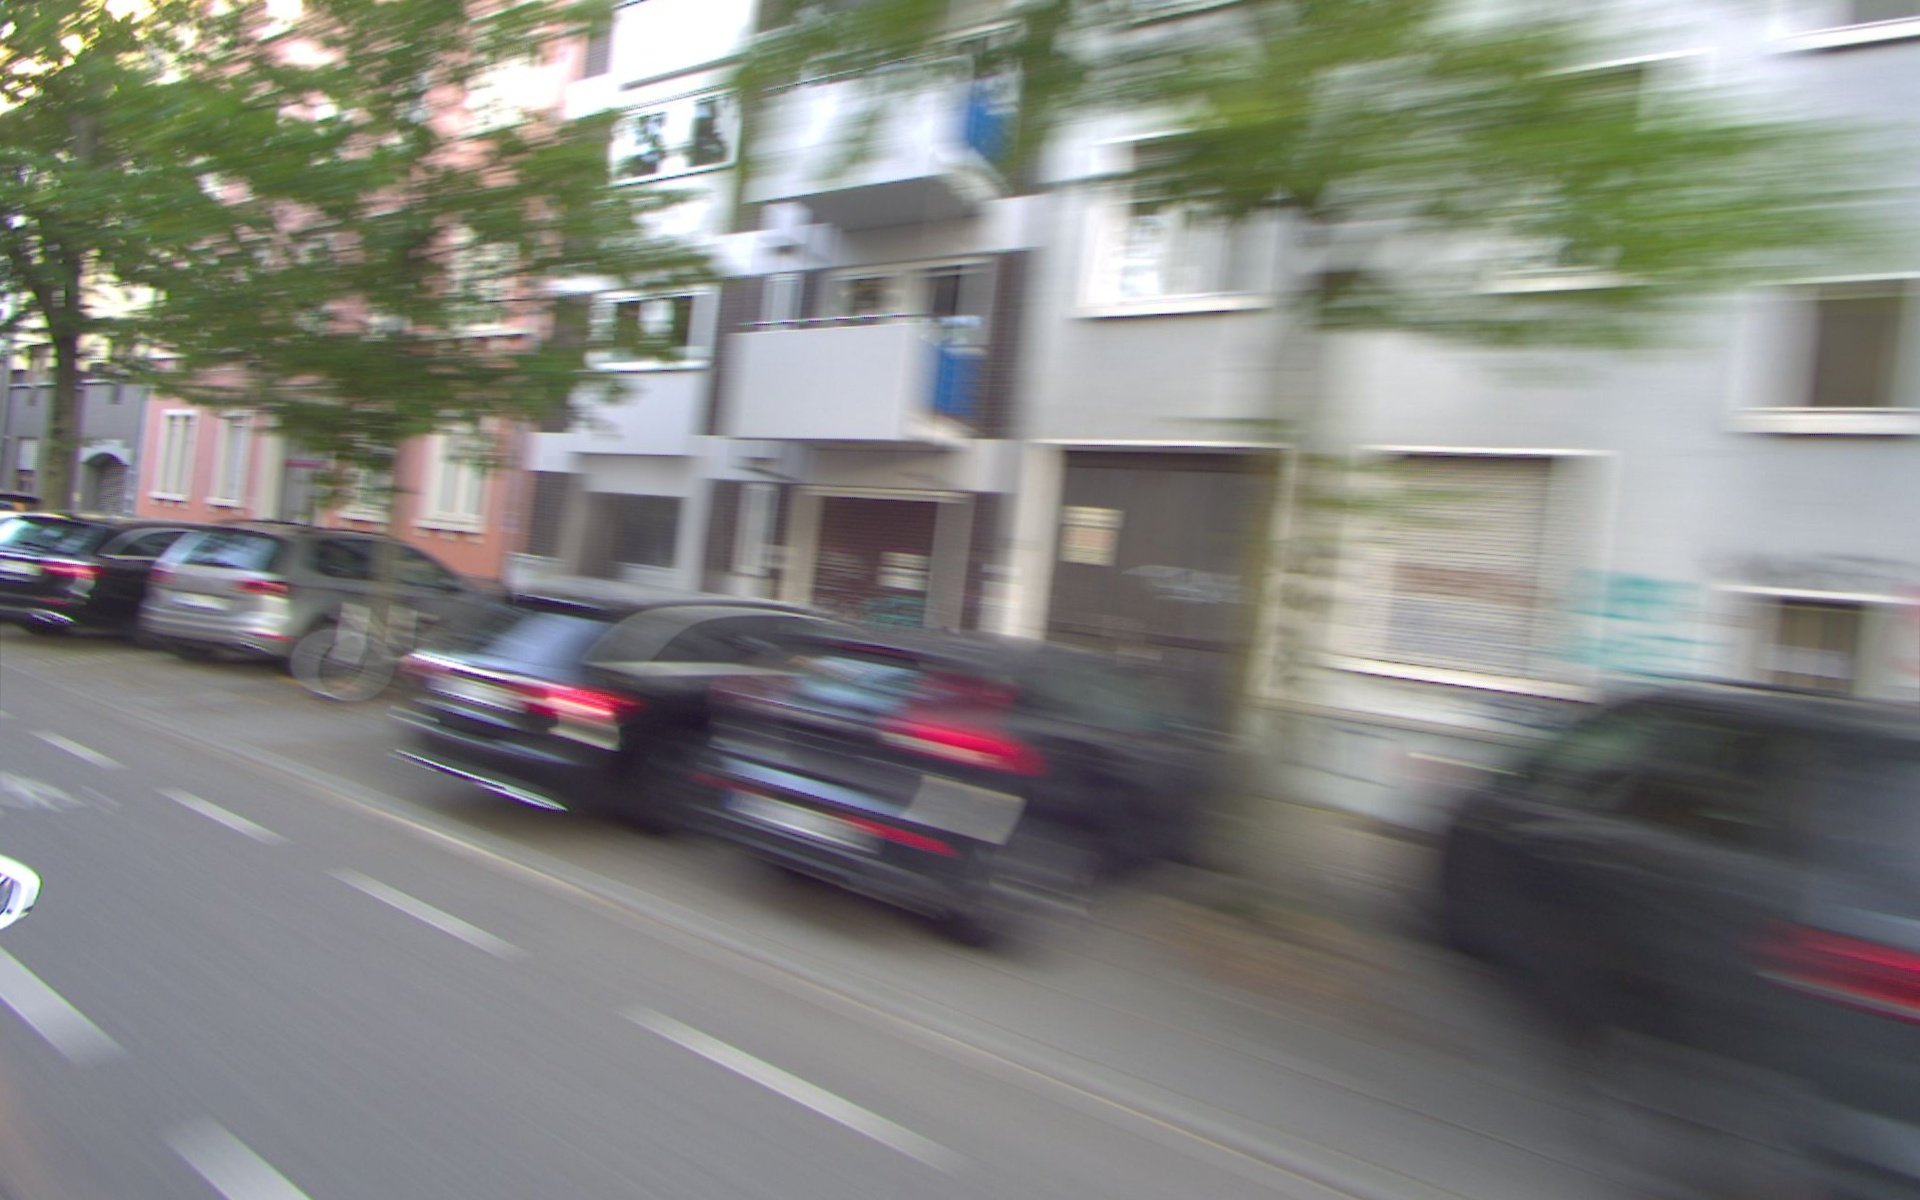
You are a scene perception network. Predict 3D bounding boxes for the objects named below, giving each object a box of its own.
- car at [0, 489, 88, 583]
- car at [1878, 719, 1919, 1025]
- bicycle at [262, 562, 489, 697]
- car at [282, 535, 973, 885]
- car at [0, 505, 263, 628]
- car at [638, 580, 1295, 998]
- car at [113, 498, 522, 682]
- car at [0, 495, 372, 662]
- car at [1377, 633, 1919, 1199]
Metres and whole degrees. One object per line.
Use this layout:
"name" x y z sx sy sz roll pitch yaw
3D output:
"car" -19.113 -1.384 19.685 3.953 1.603 1.882 7 -1 31
"car" 5.619 1.476 3.413 1.687 1.585 4.002 7 0 10
"bicycle" -5.767 0.315 10.057 0.718 1.158 1.800 7 0 24
"car" -1.781 0.619 6.903 1.691 1.482 4.383 7 0 30
"car" -11.960 -0.445 13.645 1.590 1.404 4.267 7 -1 6
"car" 0.374 0.876 5.966 1.694 1.482 3.985 7 0 38
"car" -7.267 -0.061 11.953 1.687 1.613 4.001 8 0 11
"car" -9.463 -0.213 12.115 1.687 1.572 3.975 8 0 14
"car" 3.254 1.118 4.053 1.811 1.717 4.194 7 0 9
